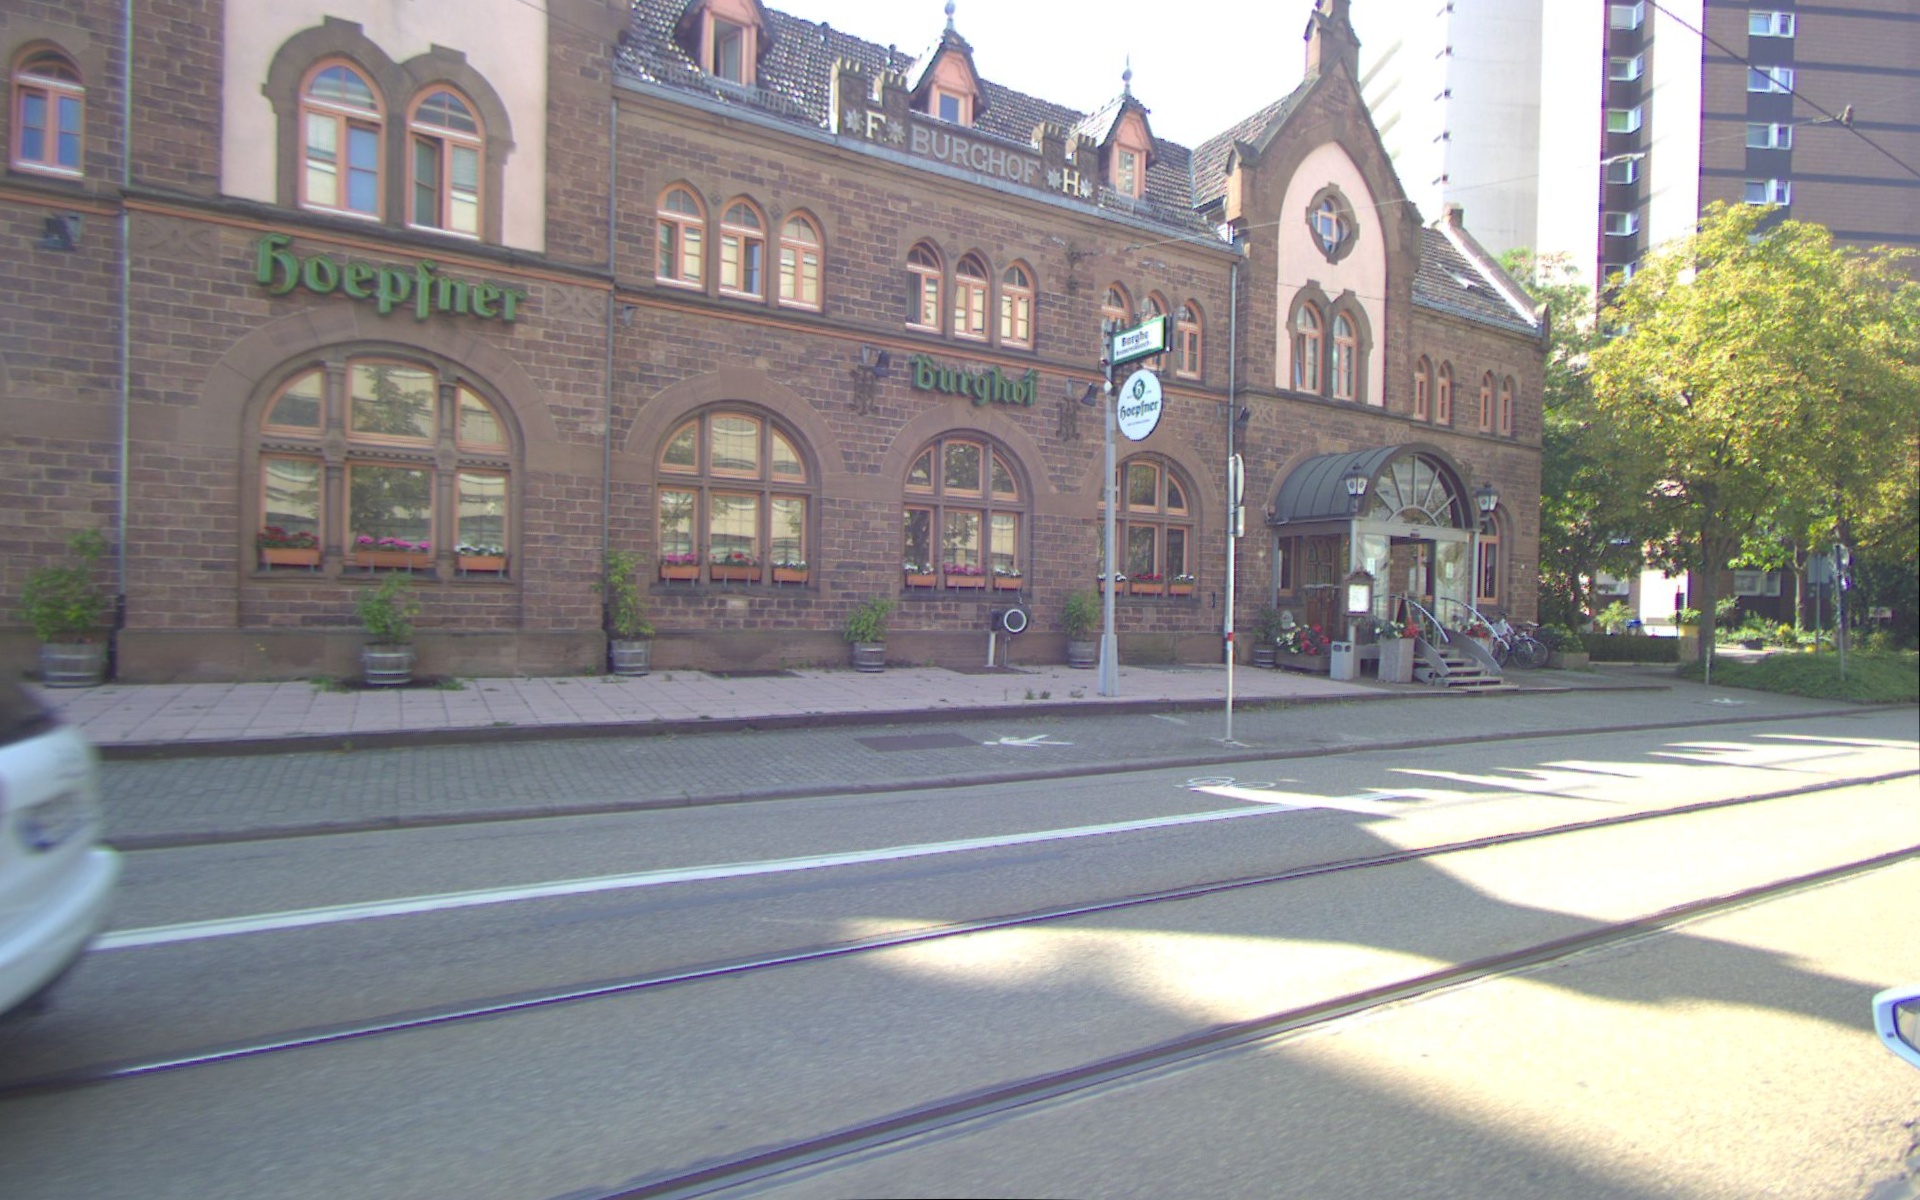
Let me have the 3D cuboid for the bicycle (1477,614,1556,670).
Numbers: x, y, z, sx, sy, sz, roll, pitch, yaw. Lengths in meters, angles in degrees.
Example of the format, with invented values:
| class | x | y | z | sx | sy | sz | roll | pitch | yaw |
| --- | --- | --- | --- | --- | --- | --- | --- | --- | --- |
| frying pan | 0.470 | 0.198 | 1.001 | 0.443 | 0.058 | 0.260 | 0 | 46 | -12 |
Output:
| class | x | y | z | sx | sy | sz | roll | pitch | yaw |
| --- | --- | --- | --- | --- | --- | --- | --- | --- | --- |
| bicycle | 12.390 | 0.917 | 22.397 | 0.395 | 1.108 | 1.442 | 1 | 4 | -33 |

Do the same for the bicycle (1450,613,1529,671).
| class | x | y | z | sx | sy | sz | roll | pitch | yaw |
| --- | --- | --- | --- | --- | --- | --- | --- | --- | --- |
| bicycle | 11.460 | 0.896 | 21.785 | 0.395 | 1.108 | 1.442 | 1 | 4 | -33 |

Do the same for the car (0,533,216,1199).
| class | x | y | z | sx | sy | sz | roll | pitch | yaw |
| --- | --- | --- | --- | --- | --- | --- | --- | --- | --- |
| car | -4.458 | 0.603 | 1.772 | 4.809 | 1.511 | 1.839 | 1 | -3 | -30 |

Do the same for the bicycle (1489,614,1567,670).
| class | x | y | z | sx | sy | sz | roll | pitch | yaw |
| --- | --- | --- | --- | --- | --- | --- | --- | --- | --- |
| bicycle | 12.773 | 0.925 | 22.625 | 0.395 | 1.108 | 1.442 | 1 | 4 | -33 |
